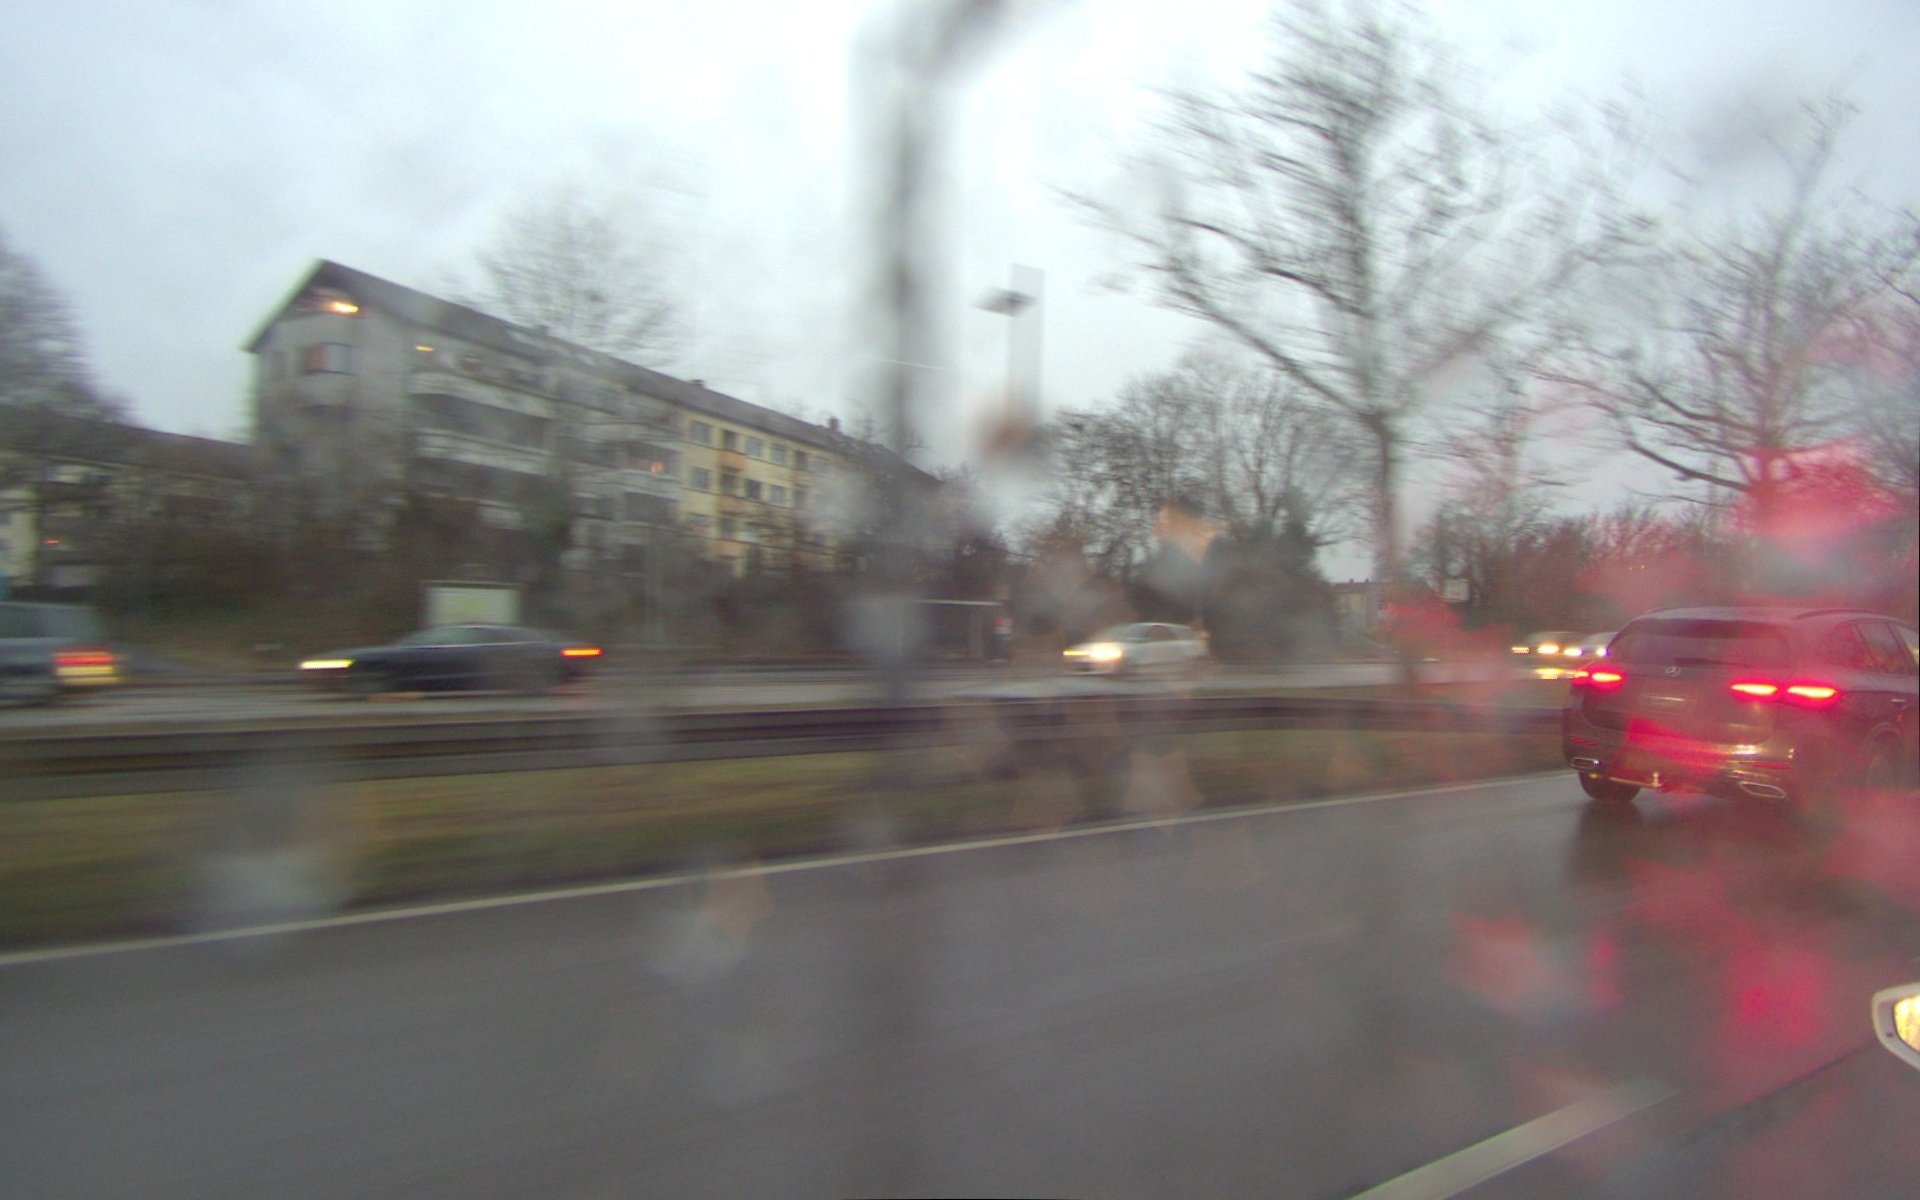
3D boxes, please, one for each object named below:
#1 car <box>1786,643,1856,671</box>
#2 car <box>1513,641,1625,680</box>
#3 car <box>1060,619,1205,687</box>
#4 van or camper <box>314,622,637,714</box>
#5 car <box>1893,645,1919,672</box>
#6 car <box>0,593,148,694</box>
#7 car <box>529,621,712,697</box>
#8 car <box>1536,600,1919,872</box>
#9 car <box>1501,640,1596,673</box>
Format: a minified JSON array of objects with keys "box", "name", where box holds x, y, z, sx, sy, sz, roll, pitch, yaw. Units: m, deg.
[{"box":[48.645,3.204,56.731,4.147,1.502,1.744,2,-1,-30],"name":"car"},{"box":[22.409,2.206,36.949,4.266,1.325,1.743,2,-1,-31],"name":"car"},{"box":[4.647,1.403,26.953,3.535,1.648,1.775,2,-1,-32],"name":"car"},{"box":[-8.773,1.218,18.478,5.099,1.465,1.894,3,-1,-31],"name":"van or camper"},{"box":[52.412,3.174,54.543,3.957,1.357,1.628,2,0,-33],"name":"car"},{"box":[-15.137,0.607,14.991,4.392,1.465,1.894,2,-1,-31],"name":"car"},{"box":[-9.162,1.566,27.174,4.373,1.876,1.984,2,-1,-30],"name":"car"},{"box":[6.778,0.927,8.132,4.417,1.669,1.812,2,-2,-32],"name":"car"},{"box":[25.613,2.440,43.658,4.266,1.325,1.743,2,-1,-31],"name":"car"}]
